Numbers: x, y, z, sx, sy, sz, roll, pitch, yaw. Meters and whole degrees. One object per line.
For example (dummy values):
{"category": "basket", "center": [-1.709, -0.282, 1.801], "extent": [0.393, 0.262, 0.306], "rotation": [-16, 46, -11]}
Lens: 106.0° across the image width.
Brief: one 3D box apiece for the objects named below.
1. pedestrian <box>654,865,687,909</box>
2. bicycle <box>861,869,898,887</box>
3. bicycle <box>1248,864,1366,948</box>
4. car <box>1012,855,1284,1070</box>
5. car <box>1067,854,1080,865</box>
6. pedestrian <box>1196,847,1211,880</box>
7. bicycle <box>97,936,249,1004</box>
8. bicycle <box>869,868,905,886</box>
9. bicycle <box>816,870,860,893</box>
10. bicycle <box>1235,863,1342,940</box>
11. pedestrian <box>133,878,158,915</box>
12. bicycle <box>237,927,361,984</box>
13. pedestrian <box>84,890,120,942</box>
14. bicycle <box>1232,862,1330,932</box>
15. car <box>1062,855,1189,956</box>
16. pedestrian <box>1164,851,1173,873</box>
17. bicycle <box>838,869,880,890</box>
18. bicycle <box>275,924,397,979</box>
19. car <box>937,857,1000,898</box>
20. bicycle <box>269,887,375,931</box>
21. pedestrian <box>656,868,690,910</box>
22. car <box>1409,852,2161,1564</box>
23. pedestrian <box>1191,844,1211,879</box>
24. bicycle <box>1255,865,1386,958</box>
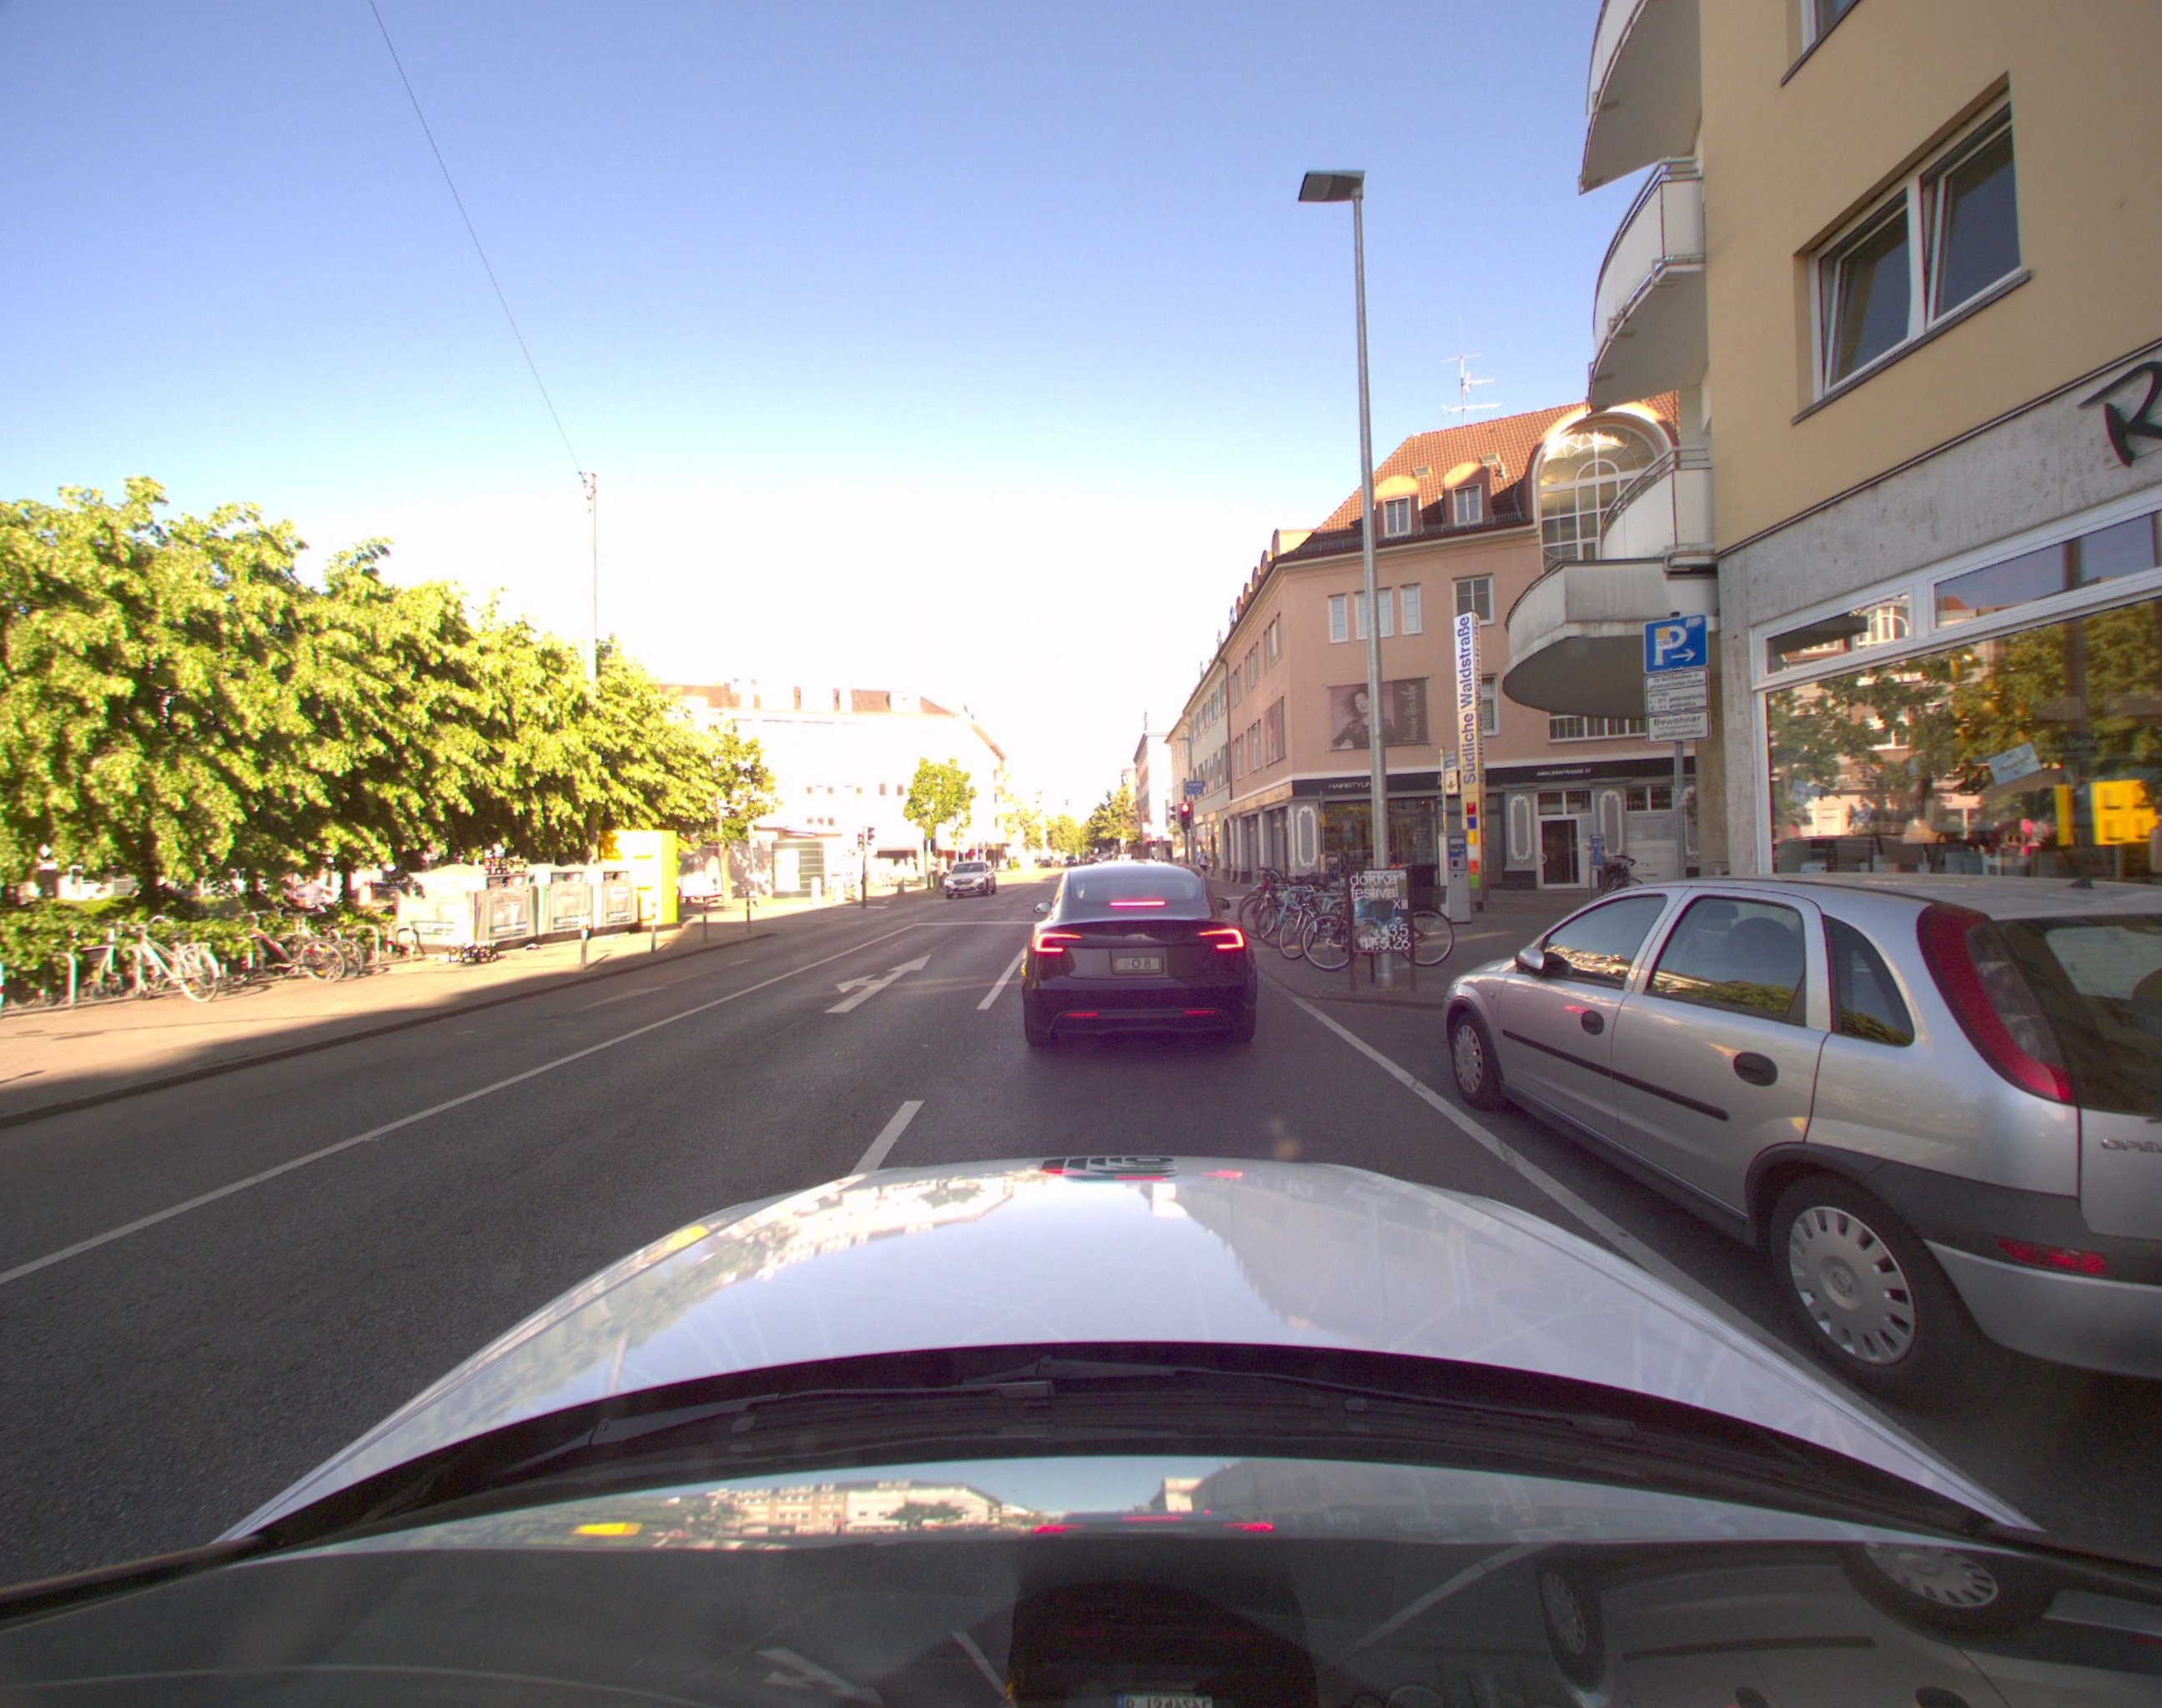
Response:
{"category": "pedestrian", "center": [-16.499, 1.304, 32.759], "extent": [0.897, 1.725, 0.745], "rotation": [-1, 0, 5]}
{"category": "bicycle", "center": [-12.479, 1.485, 50.417], "extent": [2.075, 1.104, 0.806], "rotation": [-1, 0, 1]}
{"category": "bicycle", "center": [3.441, 0.786, 12.448], "extent": [1.622, 1.160, 0.433], "rotation": [-3, 0, 0]}
{"category": "car", "center": [0.543, 0.754, 7.511], "extent": [1.842, 1.455, 3.788], "rotation": [-1, 0, 3]}
{"category": "car", "center": [-1.152, 0.862, 127.468], "extent": [1.824, 1.724, 4.000], "rotation": [-1, 0, 0]}
{"category": "pedestrian", "center": [6.707, 0.532, 44.558], "extent": [0.701, 1.783, 0.534], "rotation": [-1, 0, 1]}
{"category": "bicycle", "center": [-11.446, 1.451, 10.275], "extent": [1.645, 0.769, 0.476], "rotation": [-1, -1, 10]}
{"category": "bicycle", "center": [-12.522, 1.456, 52.613], "extent": [2.075, 1.104, 0.806], "rotation": [-1, 0, 1]}
{"category": "bicycle", "center": [-12.849, 1.454, 43.126], "extent": [2.075, 1.104, 0.806], "rotation": [-1, 0, 1]}
{"category": "bicycle", "center": [3.447, 0.783, 13.605], "extent": [1.622, 1.160, 0.433], "rotation": [-3, 0, 0]}
{"category": "pedestrian", "center": [-45.449, 2.066, 39.554], "extent": [0.576, 1.792, 0.604], "rotation": [-1, -1, 19]}
{"category": "bicycle", "center": [-11.277, 1.456, 11.755], "extent": [1.465, 0.769, 0.442], "rotation": [-1, -1, 6]}
{"category": "pedestrian", "center": [-38.544, 2.430, 32.064], "extent": [0.577, 2.014, 0.682], "rotation": [-1, -1, 9]}
{"category": "bicycle", "center": [3.623, 0.772, 14.793], "extent": [1.621, 1.160, 0.433], "rotation": [-3, 0, 2]}
{"category": "car", "center": [0.748, 0.767, 13.927], "extent": [1.842, 1.455, 3.788], "rotation": [-1, 0, 3]}
{"category": "pedestrian", "center": [6.643, 0.607, 61.937], "extent": [0.568, 1.691, 0.387], "rotation": [-1, 0, 1]}
{"category": "bicycle", "center": [-12.432, 1.444, 45.638], "extent": [2.075, 1.104, 0.806], "rotation": [-1, 0, 1]}
{"category": "bicycle", "center": [-11.249, 1.468, 12.318], "extent": [1.466, 0.769, 0.475], "rotation": [-1, -1, 4]}
{"category": "car", "center": [-4.935, 1.004, 36.297], "extent": [1.986, 1.541, 4.002], "rotation": [-5, 0, 2]}
{"category": "bicycle", "center": [-19.868, 1.416, 21.373], "extent": [0.498, 1.017, 2.068], "rotation": [-1, -1, 15]}
{"category": "pedestrian", "center": [-16.472, 1.403, 32.892], "extent": [0.981, 1.636, 0.738], "rotation": [-1, 0, 5]}
{"category": "car", "center": [2.956, 0.707, 3.551], "extent": [1.615, 1.394, 3.888], "rotation": [-1, 0, 3]}
{"category": "pedestrian", "center": [6.564, 0.397, 44.533], "extent": [0.995, 1.850, 0.615], "rotation": [-1, 0, 1]}
{"category": "bicycle", "center": [3.289, 0.778, 11.237], "extent": [1.622, 1.160, 0.433], "rotation": [-3, 0, 0]}
